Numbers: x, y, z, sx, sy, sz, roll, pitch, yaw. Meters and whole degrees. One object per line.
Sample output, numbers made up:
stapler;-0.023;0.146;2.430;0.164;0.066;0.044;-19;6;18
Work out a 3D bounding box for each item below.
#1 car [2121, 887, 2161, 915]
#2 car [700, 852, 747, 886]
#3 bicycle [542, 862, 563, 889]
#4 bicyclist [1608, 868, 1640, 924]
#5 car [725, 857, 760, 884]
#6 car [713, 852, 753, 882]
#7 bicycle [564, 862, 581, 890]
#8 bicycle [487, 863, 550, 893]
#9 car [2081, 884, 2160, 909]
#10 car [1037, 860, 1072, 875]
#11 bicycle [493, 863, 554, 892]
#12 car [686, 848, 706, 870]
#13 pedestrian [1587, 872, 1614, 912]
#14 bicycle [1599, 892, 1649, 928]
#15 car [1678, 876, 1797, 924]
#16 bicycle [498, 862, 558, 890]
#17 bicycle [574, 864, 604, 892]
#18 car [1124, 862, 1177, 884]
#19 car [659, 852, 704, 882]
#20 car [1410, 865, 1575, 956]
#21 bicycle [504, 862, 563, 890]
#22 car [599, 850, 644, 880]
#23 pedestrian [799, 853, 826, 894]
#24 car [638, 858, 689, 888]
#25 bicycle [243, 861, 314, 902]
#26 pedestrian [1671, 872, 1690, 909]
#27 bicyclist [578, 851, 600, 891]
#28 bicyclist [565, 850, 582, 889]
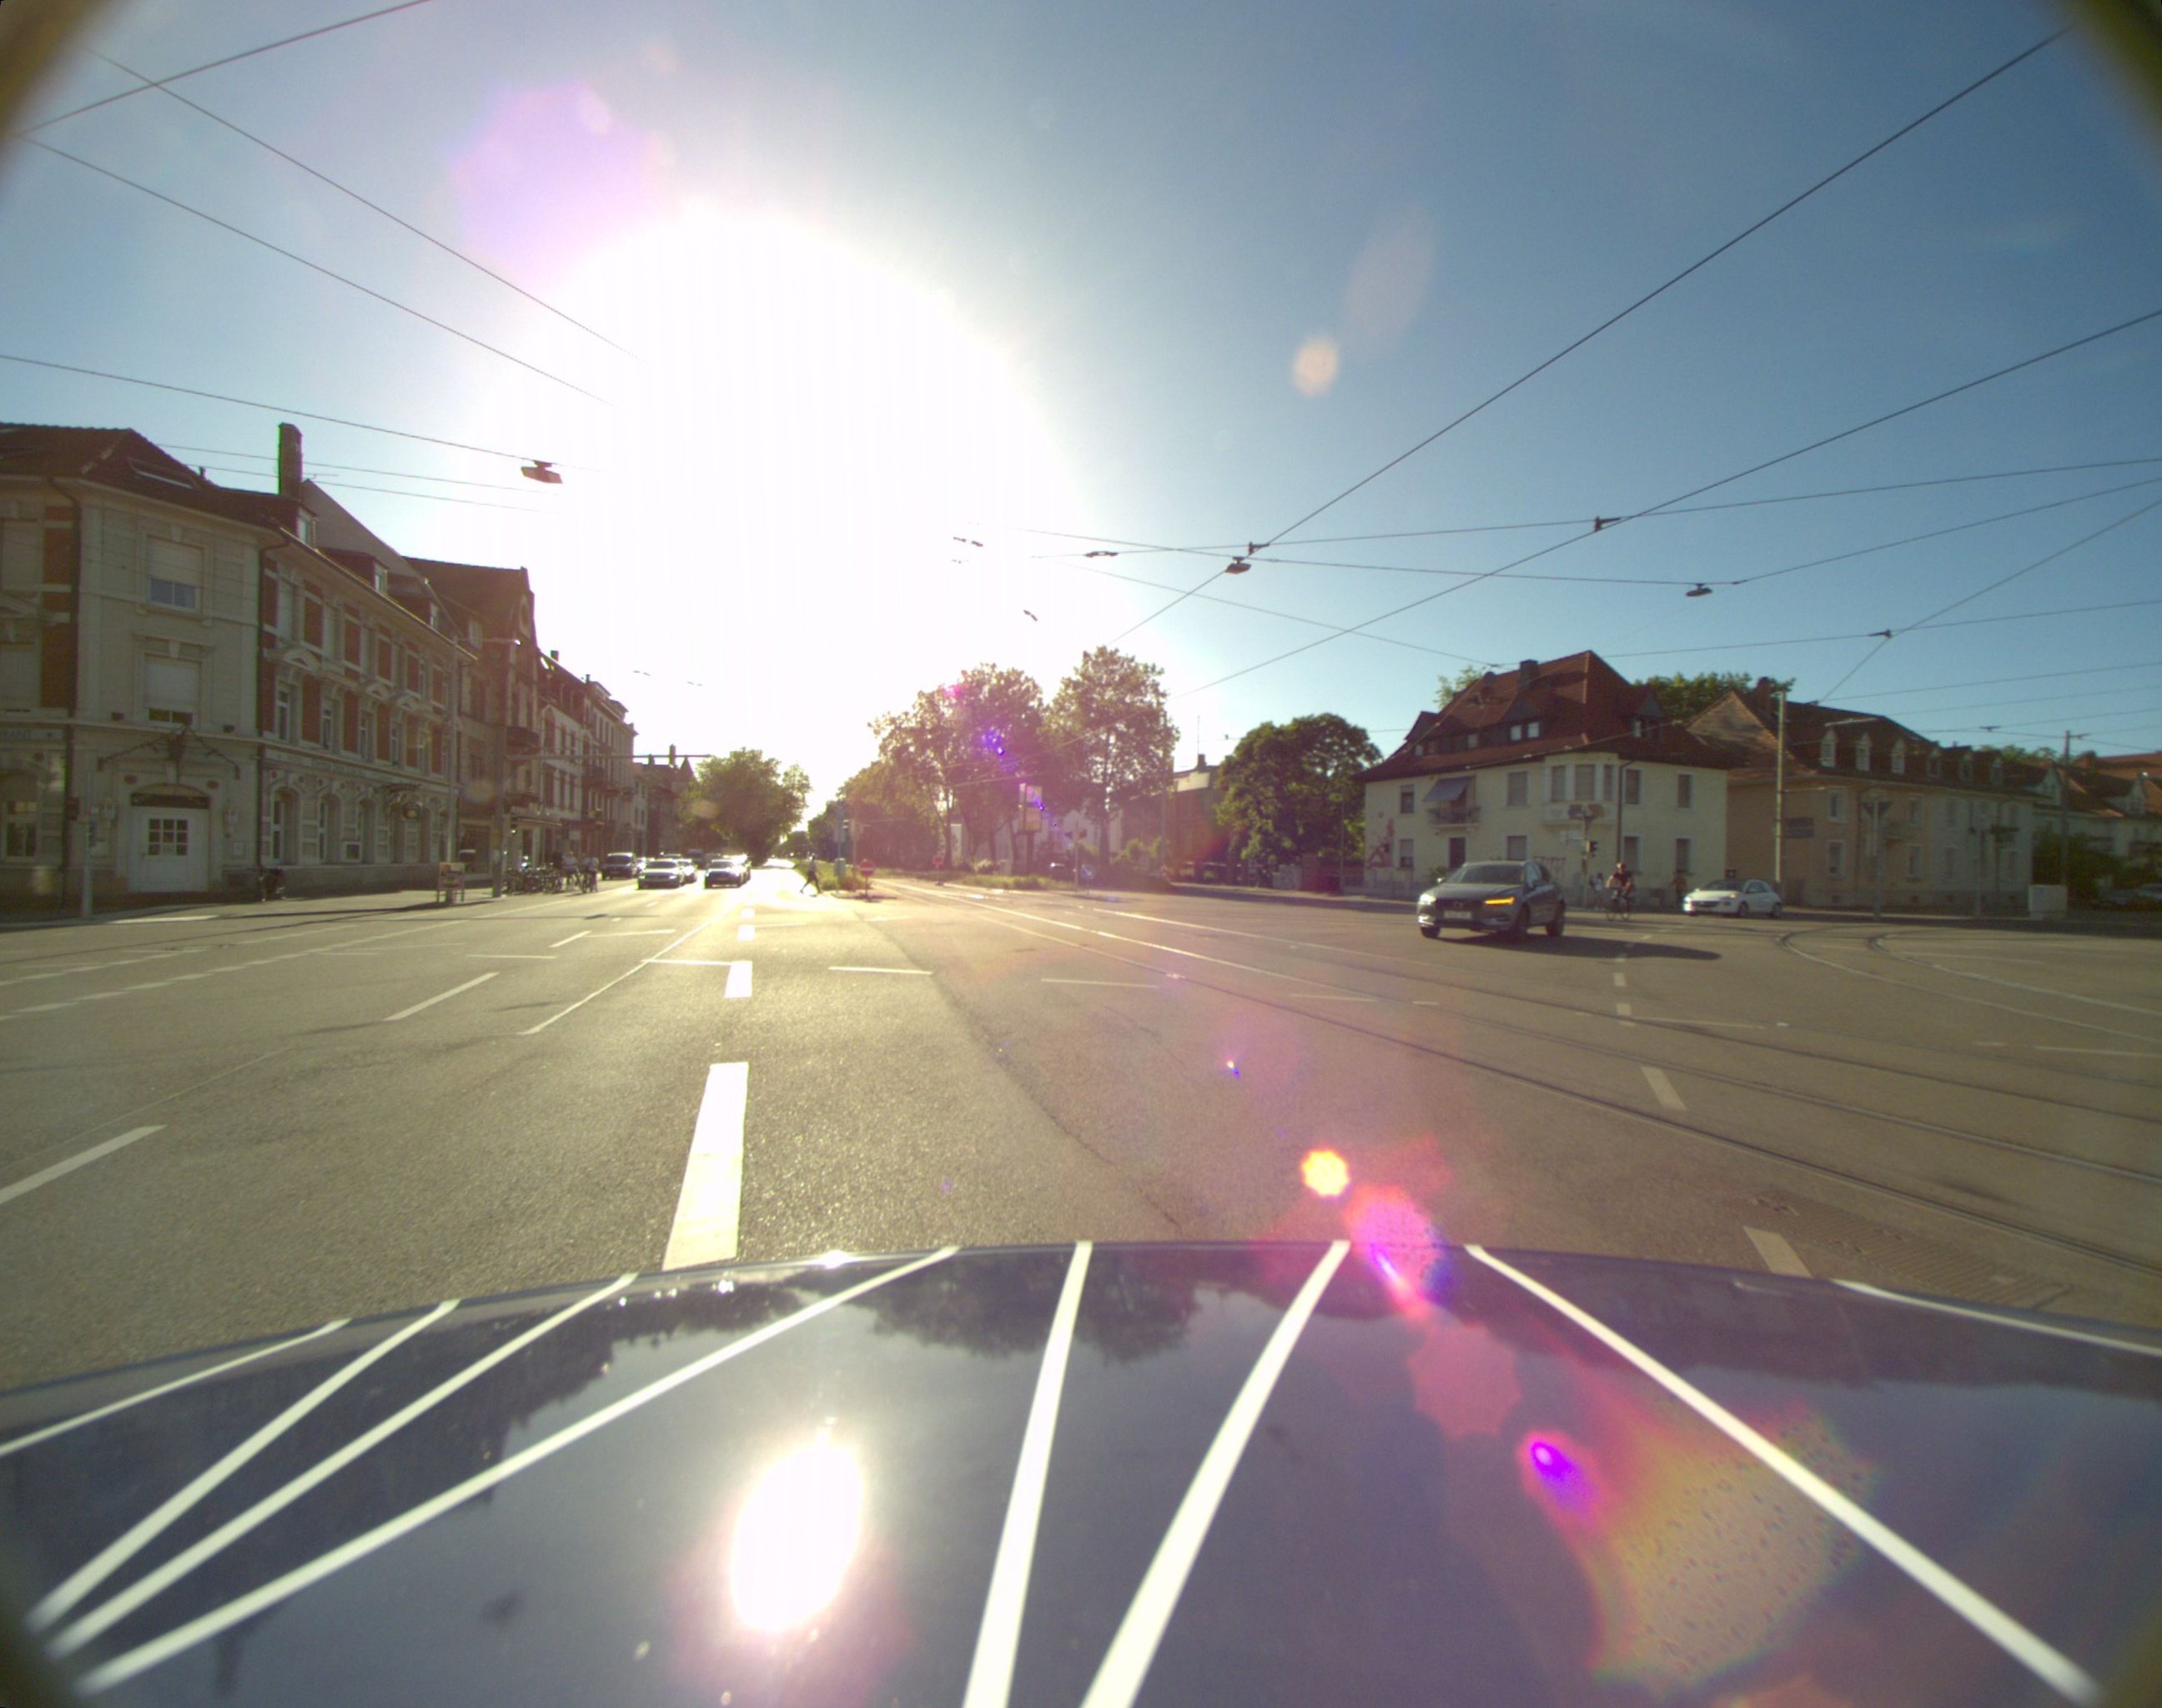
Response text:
car;74.194;3.217;52.190;5.319;1.834;1.931;1;0;-21
car;-18.672;0.753;39.853;1.957;1.658;3.992;1;0;-22
bicycle;-24.178;0.985;34.786;0.680;1.184;1.962;1;0;-33
bicyclist;17.035;1.297;23.838;0.664;1.709;0.599;1;0;-33
car;-22.500;1.058;50.601;1.957;1.658;4.478;1;0;-22
car;-20.553;0.764;45.026;1.957;1.658;3.992;1;0;-22
bicycle;-23.335;1.000;34.913;0.603;1.184;1.962;1;0;-33
bicycle;-23.345;0.994;31.588;1.969;1.184;0.678;1;0;-21
car;68.472;2.804;50.056;4.003;1.477;1.880;1;0;-18
car;-2.692;1.330;75.680;1.921;1.445;4.493;1;0;-24
bicycle;-23.624;0.988;32.235;1.969;1.184;0.678;1;0;-21
car;-51.705;0.640;101.974;2.206;2.892;5.945;1;0;-28
pedestrian;23.402;1.715;34.246;0.673;1.731;0.690;2;4;12
bicycle;17.044;1.736;23.834;1.994;1.050;0.599;1;0;-33
car;24.726;1.684;28.605;4.510;1.621;1.914;1;0;-29
bicycle;-23.859;0.938;32.843;1.969;1.184;0.678;1;0;-21
bicycle;-21.717;1.040;33.566;0.602;1.184;1.964;1;0;-19
car;5.104;1.397;56.372;1.921;1.445;4.493;1;0;-24
car;-23.877;0.744;45.509;1.957;1.658;3.992;1;0;-22
car;8.857;1.089;16.174;1.913;1.621;4.513;1;0;44
bicycle;-24.098;0.971;33.478;1.969;1.184;0.678;1;0;-21
car;-31.860;0.725;52.807;1.957;1.953;4.410;1;0;-22
pedestrian;-11.208;0.803;31.728;0.941;1.660;0.716;1;0;-29
car;-21.347;0.931;38.986;1.848;1.404;3.992;1;0;-22
bicycle;-24.367;0.817;23.109;0.547;1.184;1.964;1;0;-16
pedestrian;29.338;1.775;37.196;0.488;1.750;0.601;1;0;-41
bicyclist;-21.696;0.745;33.502;0.602;1.753;0.874;1;0;-19
bicyclist;-23.314;0.697;34.899;0.603;1.753;0.903;1;0;-33
